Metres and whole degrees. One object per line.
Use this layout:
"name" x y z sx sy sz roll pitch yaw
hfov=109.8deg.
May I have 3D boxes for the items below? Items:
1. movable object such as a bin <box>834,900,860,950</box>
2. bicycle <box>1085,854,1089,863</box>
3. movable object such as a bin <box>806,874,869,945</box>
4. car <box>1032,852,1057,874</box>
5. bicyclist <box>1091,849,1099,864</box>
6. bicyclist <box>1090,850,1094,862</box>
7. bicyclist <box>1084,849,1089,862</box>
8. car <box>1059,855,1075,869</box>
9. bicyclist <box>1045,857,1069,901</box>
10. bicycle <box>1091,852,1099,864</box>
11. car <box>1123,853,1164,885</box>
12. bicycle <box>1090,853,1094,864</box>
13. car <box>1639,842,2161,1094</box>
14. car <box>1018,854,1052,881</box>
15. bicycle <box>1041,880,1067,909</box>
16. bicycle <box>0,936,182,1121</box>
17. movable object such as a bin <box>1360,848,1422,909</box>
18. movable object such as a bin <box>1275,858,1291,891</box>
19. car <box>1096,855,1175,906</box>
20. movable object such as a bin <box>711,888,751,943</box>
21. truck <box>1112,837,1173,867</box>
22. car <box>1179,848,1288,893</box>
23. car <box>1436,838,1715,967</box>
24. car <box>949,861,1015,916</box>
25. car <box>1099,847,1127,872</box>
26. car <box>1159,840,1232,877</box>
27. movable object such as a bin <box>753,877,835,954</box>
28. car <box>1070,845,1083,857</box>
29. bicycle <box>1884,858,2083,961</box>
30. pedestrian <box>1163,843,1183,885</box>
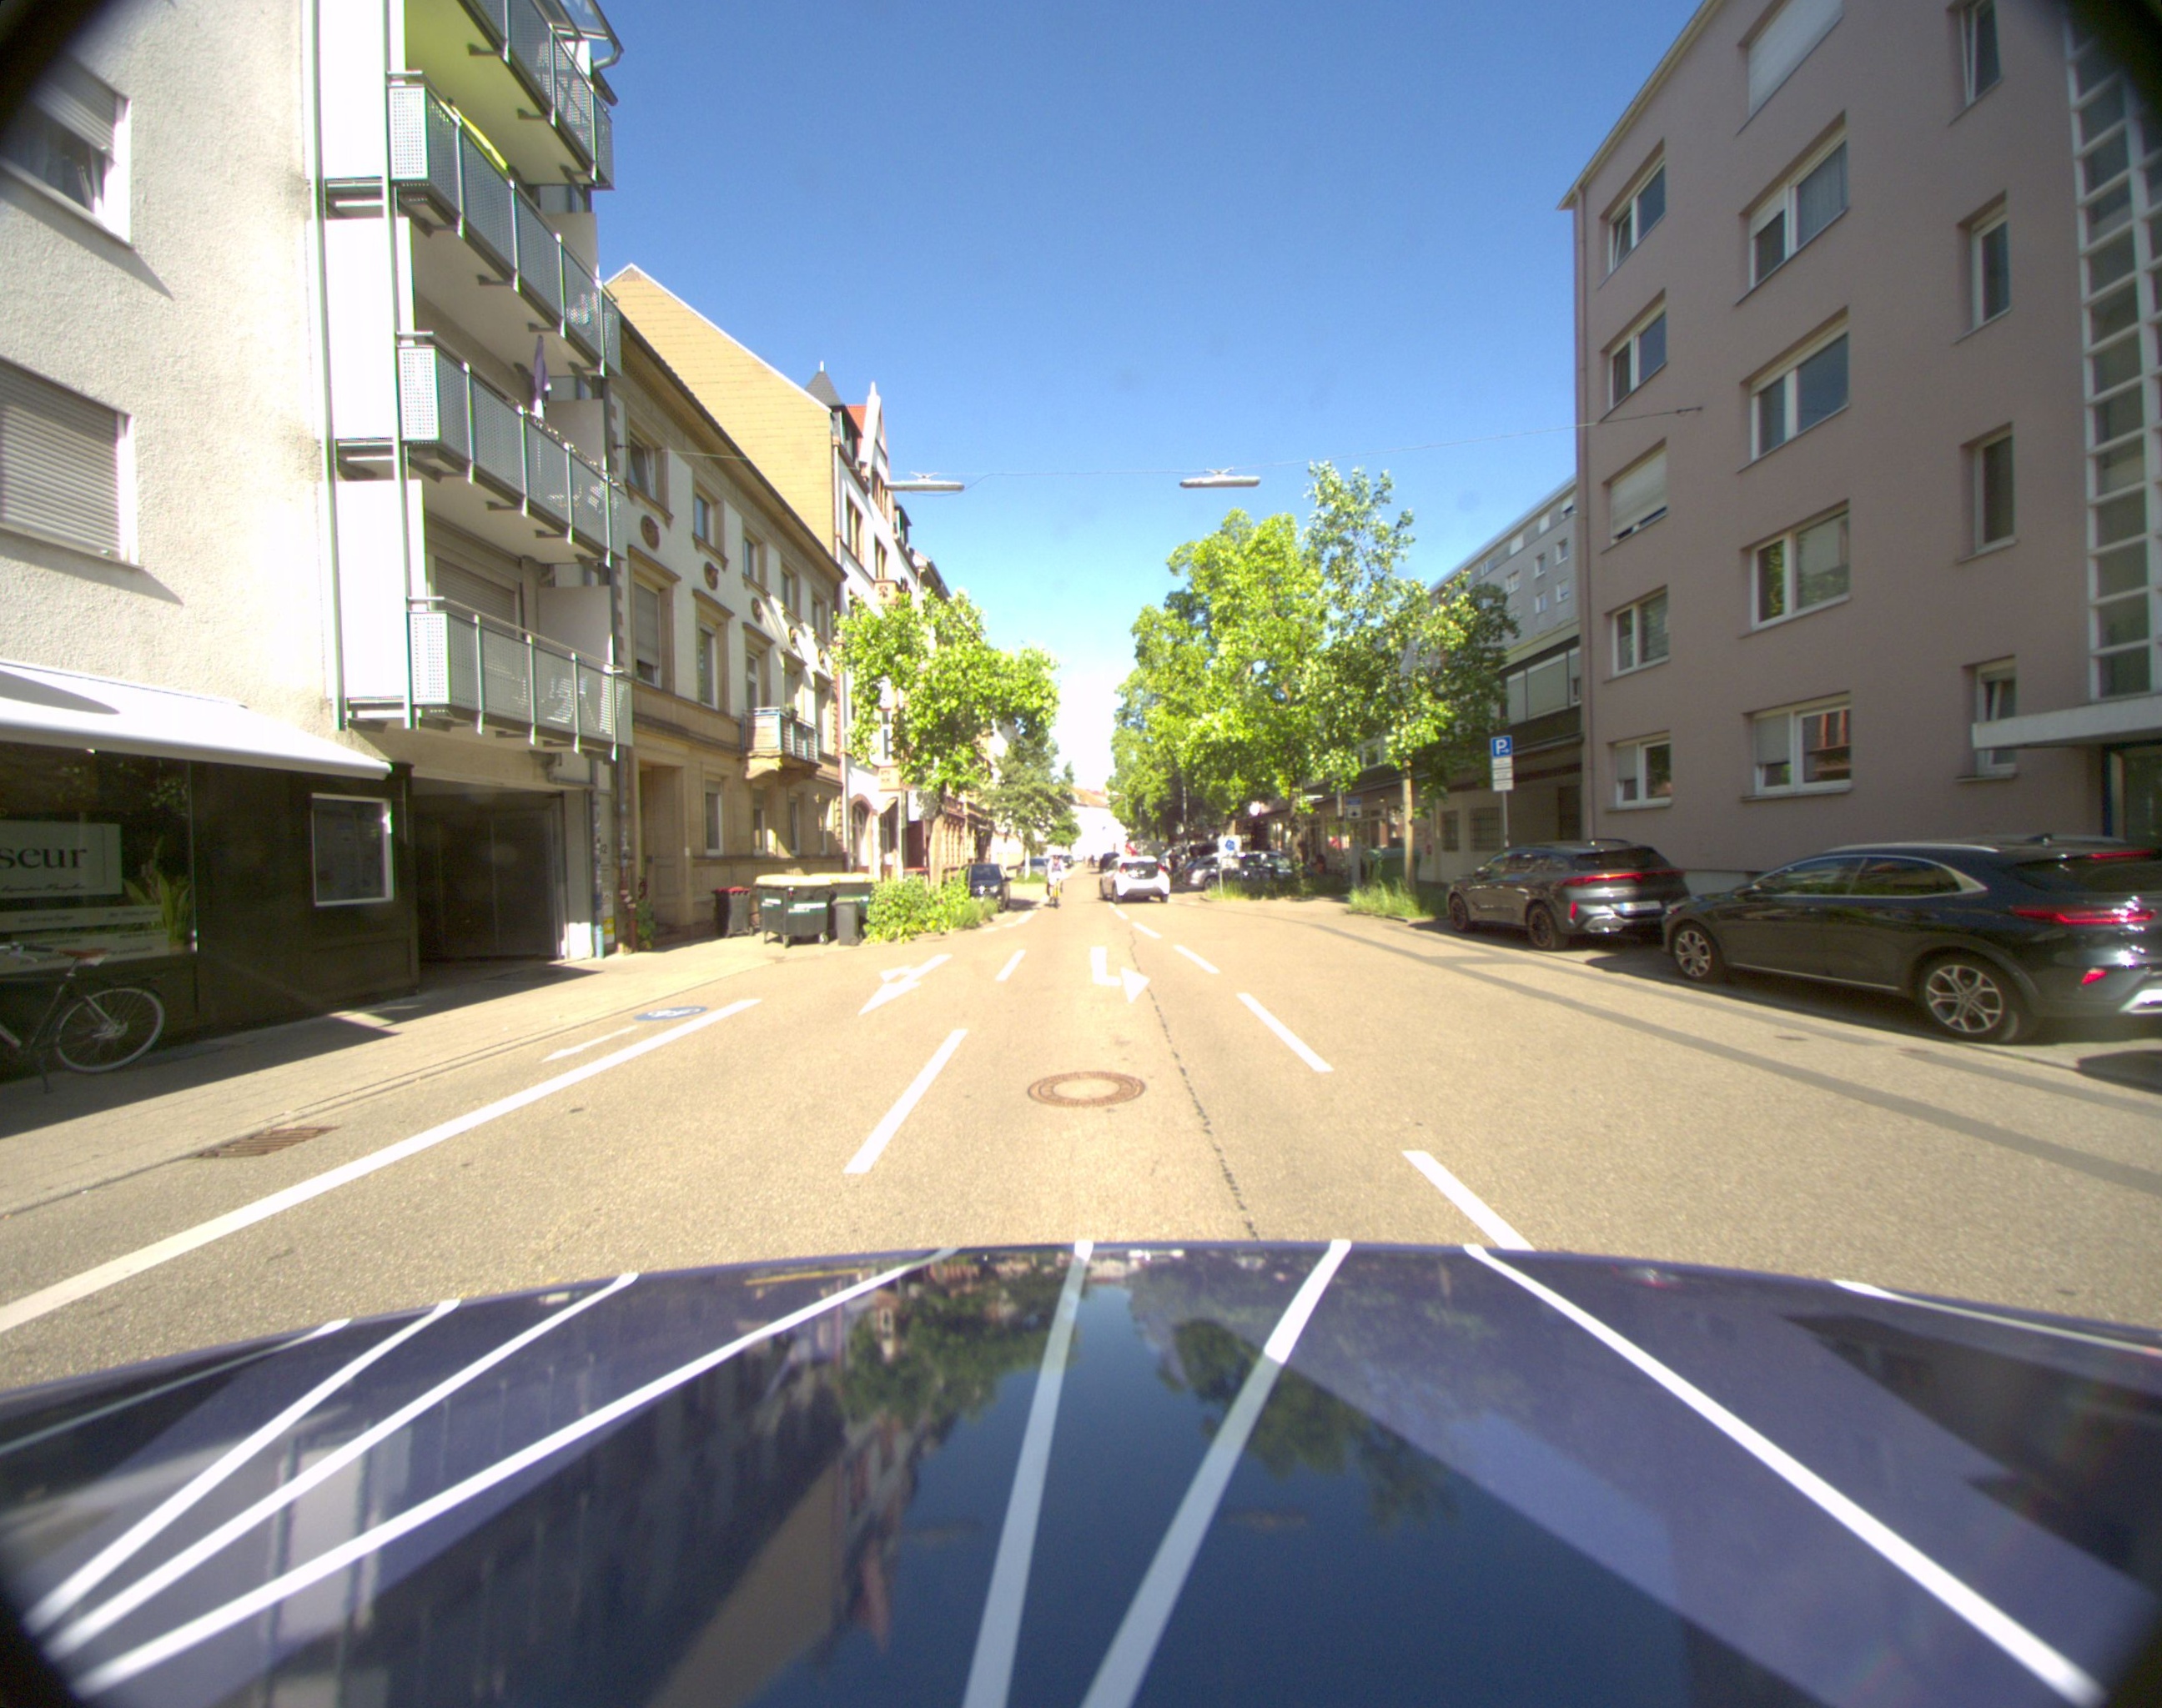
"movable object such as a bin" -4.578 1.385 14.886 0.401 0.916 0.484 0 2 -7
"bicycle" 0.868 0.673 113.666 0.570 1.139 2.259 -3 1 1
"movable object such as a bin" -5.085 1.124 15.851 0.960 1.341 1.066 -1 2 -38
"car" -2.631 0.654 55.199 1.653 1.483 3.290 -2 0 0
"bicyclist" 1.492 0.236 81.525 0.748 1.588 0.613 -3 1 1
"bicyclist" 1.338 0.243 93.392 0.417 1.415 0.324 -2 1 1
"bicyclist" 0.848 0.292 113.676 0.578 1.911 0.613 -3 1 1
"car" -1.566 0.851 84.546 1.653 1.447 3.290 -2 0 1
"bicyclist" -0.758 0.770 24.056 0.610 1.338 1.017 -2 0 -9
"bicycle" 1.502 0.440 81.560 0.778 1.139 2.259 -3 1 1
"car" 3.067 0.735 38.144 1.867 1.455 4.000 -2 0 3
"bicycle" 1.344 0.539 93.569 0.422 1.292 1.762 -2 0 0
"car" 7.516 0.707 6.913 1.821 1.499 4.245 -4 0 2
"car" -2.744 0.766 45.885 1.759 1.492 3.949 -2 0 0
"bicycle" -0.870 1.272 24.256 0.612 0.876 1.813 -1 -1 -9
"bicycle" -7.746 1.283 5.443 0.402 1.171 1.792 -2 0 1
"movable object such as a bin" 8.134 0.636 19.989 1.247 1.536 1.019 -2 1 5
"movable object such as a bin" 7.620 0.783 28.672 0.488 1.218 0.409 -2 1 1
"car" 1.740 0.820 25.392 1.771 1.528 3.783 -2 0 -9
"movable object such as a bin" -7.319 1.273 15.890 0.615 1.075 0.568 2 3 42
"truck" 5.799 -0.194 71.698 5.322 2.581 1.998 -2 1 -9
"car" 6.089 0.635 30.665 3.997 1.665 2.000 -2 1 1
"car" 7.590 0.645 12.253 1.821 1.583 4.141 -5 0 2
"car" -2.969 1.013 23.362 1.551 1.483 3.351 -2 0 0
"car" 2.479 0.398 59.580 1.994 1.599 4.259 -3 3 1
"car" 6.707 0.264 44.773 3.997 2.020 2.000 -2 1 1
"movable object such as a bin" -5.588 1.162 14.774 1.212 1.318 1.052 2 3 42
"car" -0.666 -0.503 126.443 1.998 2.002 4.000 -2 0 1
"bicycle" 10.760 0.615 9.151 0.391 1.070 1.650 -6 1 2
"pedestrian" 4.437 0.491 36.637 0.754 2.002 0.565 -2 1 -12
